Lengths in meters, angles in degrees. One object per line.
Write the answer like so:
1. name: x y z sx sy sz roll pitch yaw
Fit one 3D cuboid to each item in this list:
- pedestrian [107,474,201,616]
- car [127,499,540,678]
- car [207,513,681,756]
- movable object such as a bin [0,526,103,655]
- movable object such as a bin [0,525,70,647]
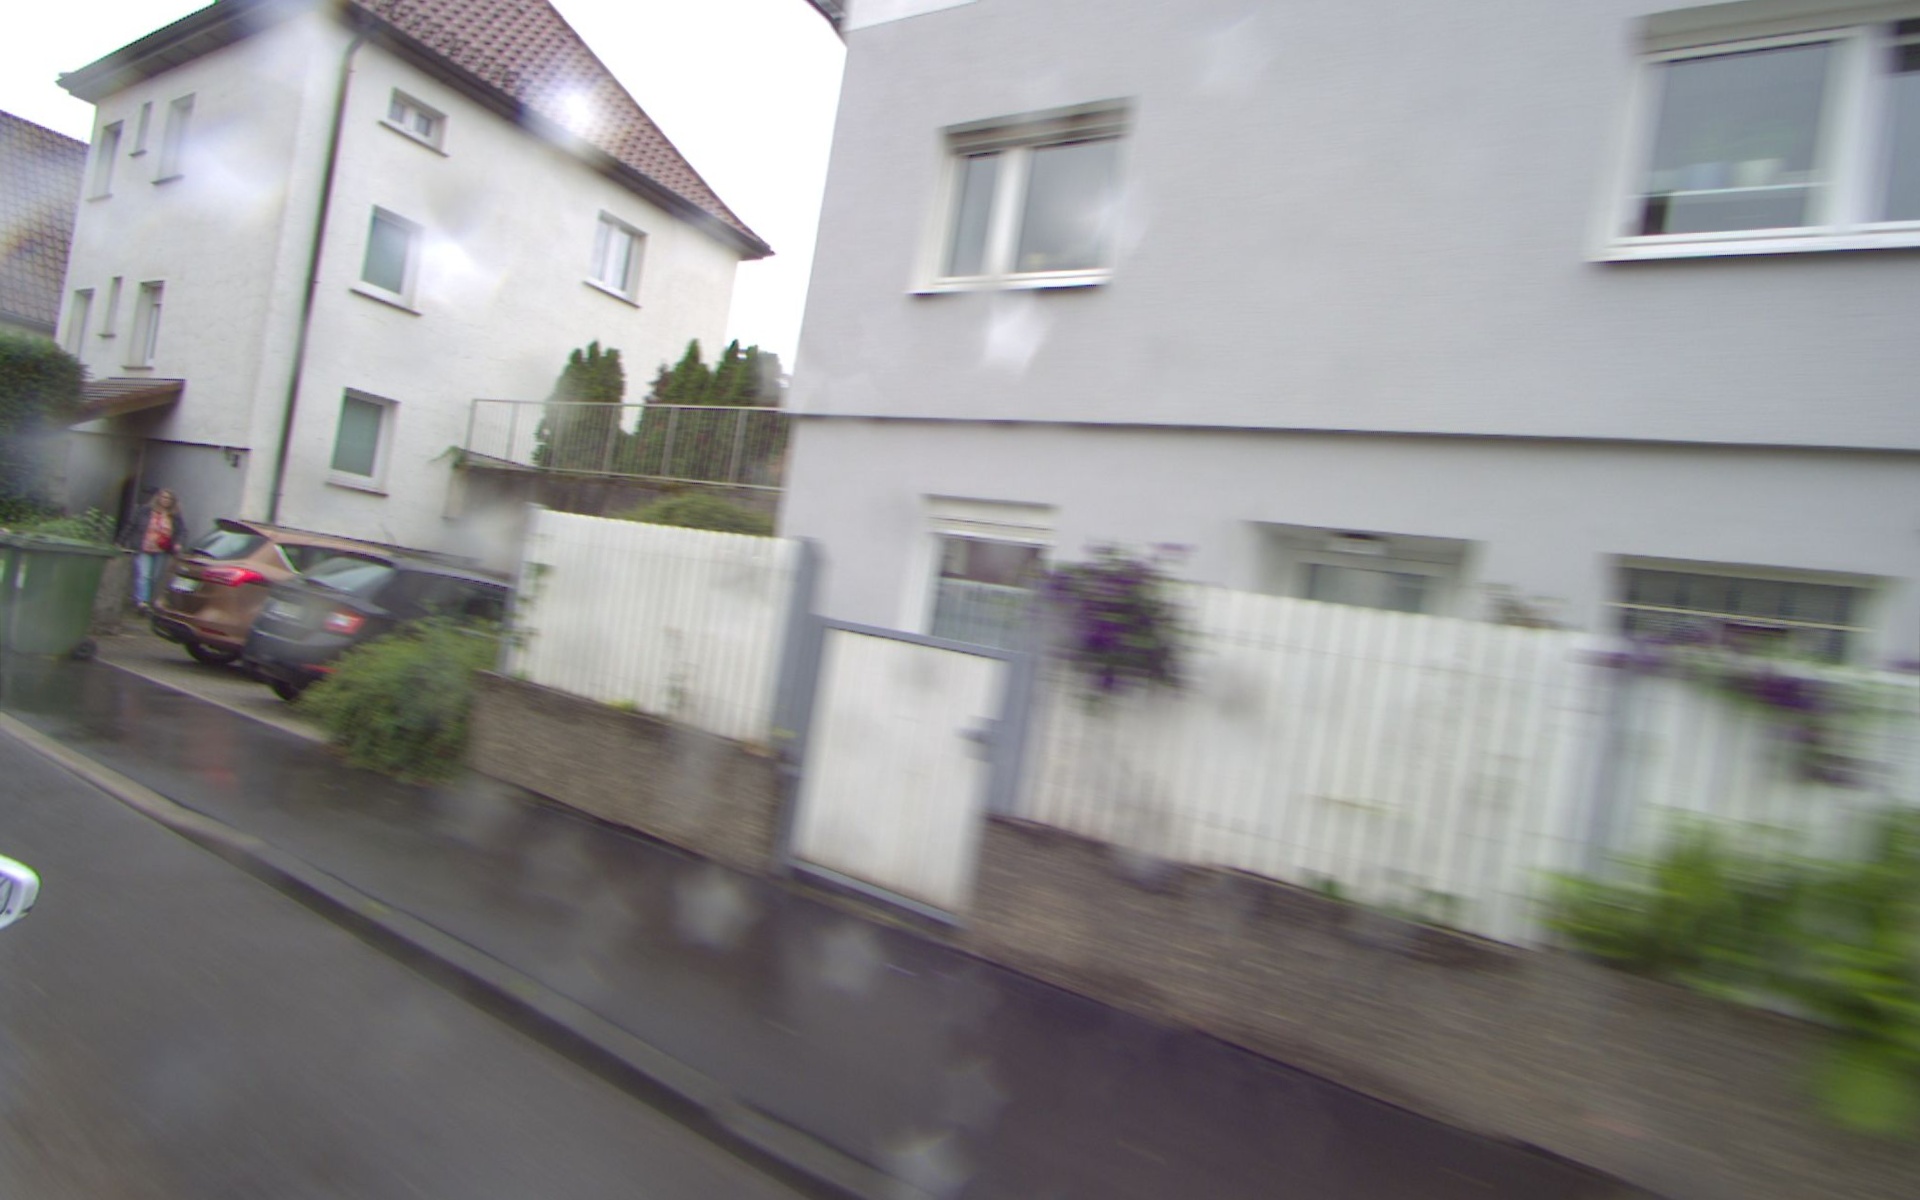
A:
1. pedestrian: -10.602 -0.722 13.242 0.609 1.746 0.629 8 0 33
2. car: -6.778 -0.039 11.229 1.554 1.528 3.481 8 0 33
3. car: -4.585 0.441 9.443 1.554 1.494 3.461 8 -8 33
4. movable object such as a bin: -8.511 -0.084 9.363 0.529 1.089 0.569 8 -1 31
5. movable object such as a bin: -9.040 -0.141 9.606 0.529 1.089 0.569 8 -1 31
